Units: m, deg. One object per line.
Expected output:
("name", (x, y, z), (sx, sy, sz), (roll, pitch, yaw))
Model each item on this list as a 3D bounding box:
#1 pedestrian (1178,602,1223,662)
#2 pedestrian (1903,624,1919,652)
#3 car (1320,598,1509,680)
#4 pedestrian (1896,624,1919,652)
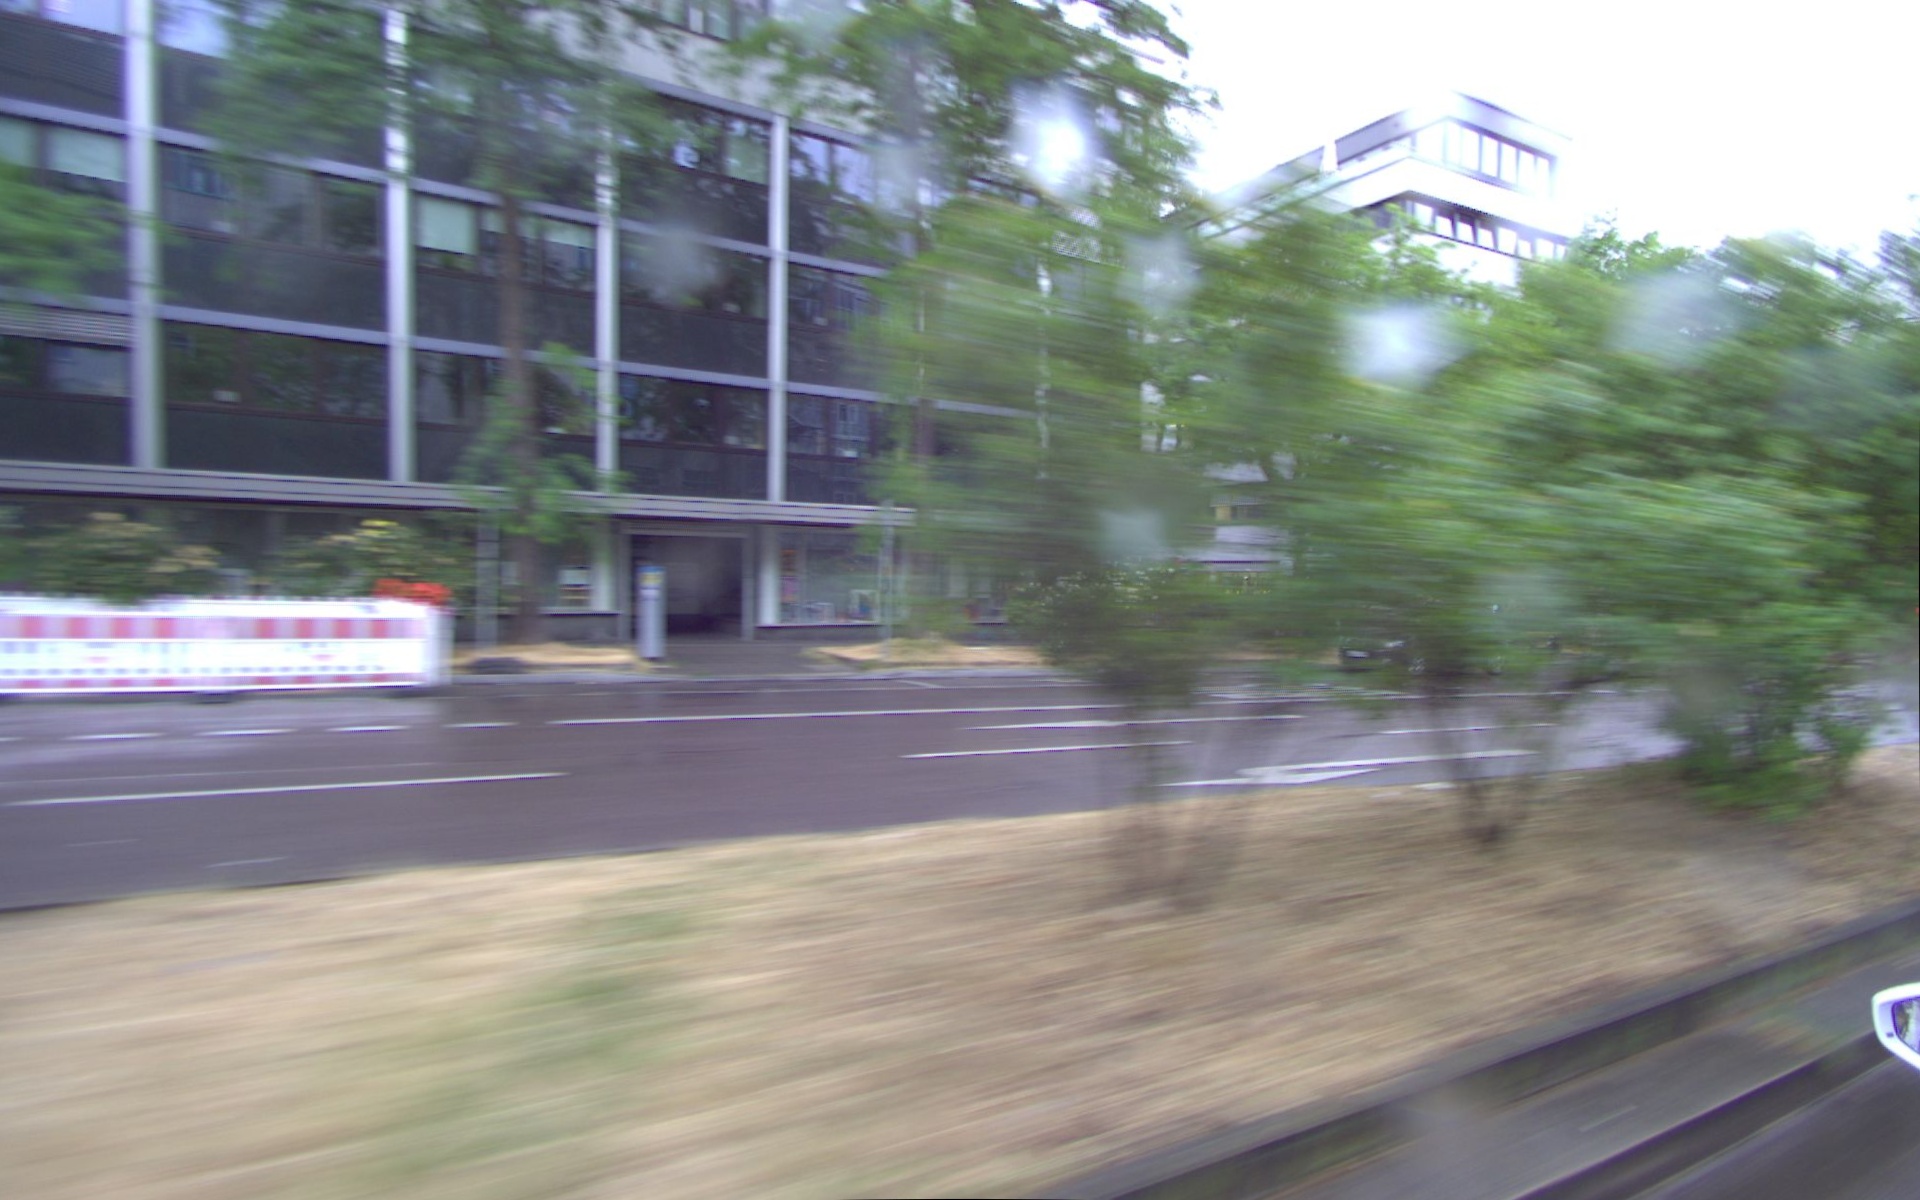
("pedestrian", (7.065, 0.938, 29.503), (0.886, 1.711, 0.864), (1, 1, -30))
("pedestrian", (51.856, 2.041, 54.572), (0.684, 1.470, 0.722), (1, 1, -32))
("car", (10.089, 0.853, 22.244), (3.975, 1.657, 1.770), (2, 0, -29))
("pedestrian", (50.969, 2.054, 54.035), (0.576, 1.470, 0.686), (1, 1, -29))
